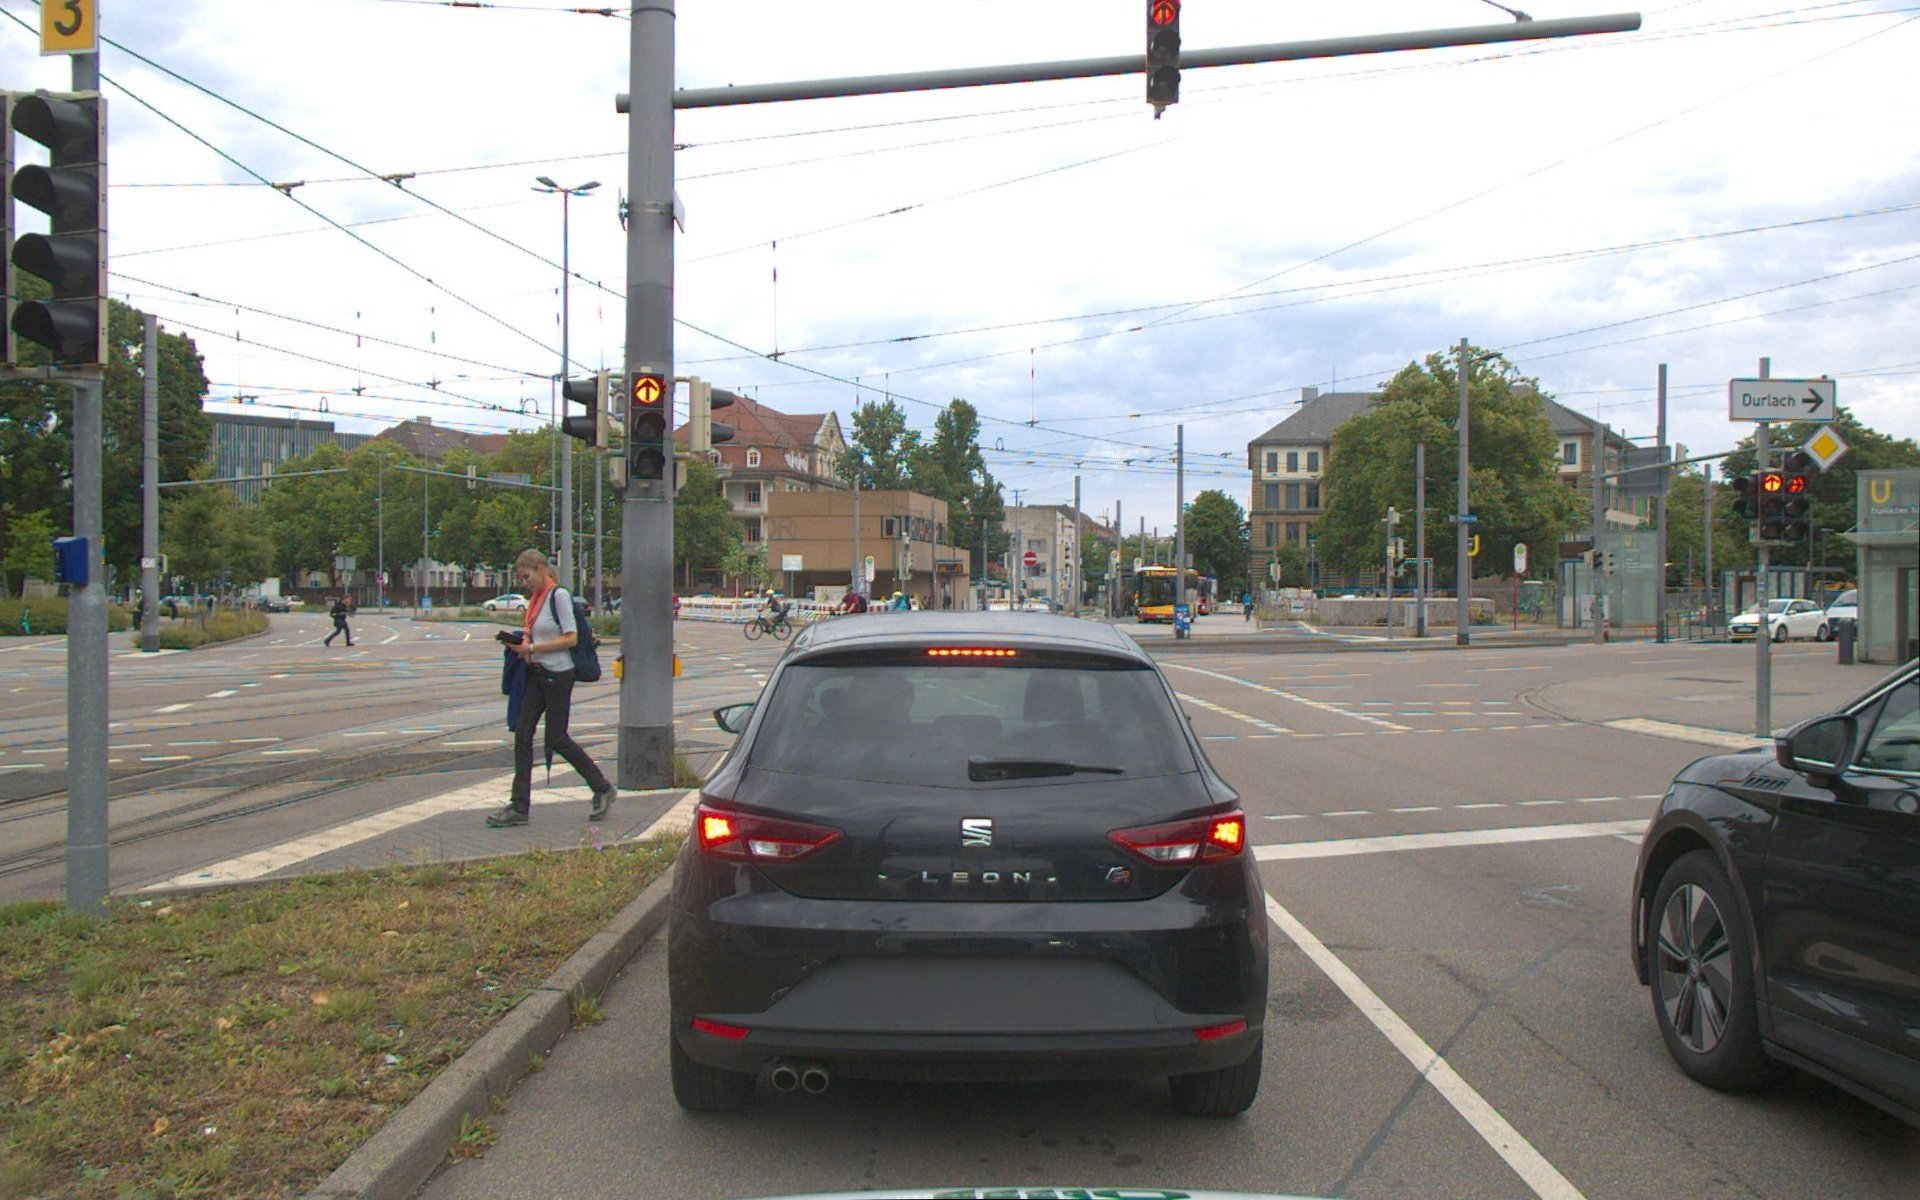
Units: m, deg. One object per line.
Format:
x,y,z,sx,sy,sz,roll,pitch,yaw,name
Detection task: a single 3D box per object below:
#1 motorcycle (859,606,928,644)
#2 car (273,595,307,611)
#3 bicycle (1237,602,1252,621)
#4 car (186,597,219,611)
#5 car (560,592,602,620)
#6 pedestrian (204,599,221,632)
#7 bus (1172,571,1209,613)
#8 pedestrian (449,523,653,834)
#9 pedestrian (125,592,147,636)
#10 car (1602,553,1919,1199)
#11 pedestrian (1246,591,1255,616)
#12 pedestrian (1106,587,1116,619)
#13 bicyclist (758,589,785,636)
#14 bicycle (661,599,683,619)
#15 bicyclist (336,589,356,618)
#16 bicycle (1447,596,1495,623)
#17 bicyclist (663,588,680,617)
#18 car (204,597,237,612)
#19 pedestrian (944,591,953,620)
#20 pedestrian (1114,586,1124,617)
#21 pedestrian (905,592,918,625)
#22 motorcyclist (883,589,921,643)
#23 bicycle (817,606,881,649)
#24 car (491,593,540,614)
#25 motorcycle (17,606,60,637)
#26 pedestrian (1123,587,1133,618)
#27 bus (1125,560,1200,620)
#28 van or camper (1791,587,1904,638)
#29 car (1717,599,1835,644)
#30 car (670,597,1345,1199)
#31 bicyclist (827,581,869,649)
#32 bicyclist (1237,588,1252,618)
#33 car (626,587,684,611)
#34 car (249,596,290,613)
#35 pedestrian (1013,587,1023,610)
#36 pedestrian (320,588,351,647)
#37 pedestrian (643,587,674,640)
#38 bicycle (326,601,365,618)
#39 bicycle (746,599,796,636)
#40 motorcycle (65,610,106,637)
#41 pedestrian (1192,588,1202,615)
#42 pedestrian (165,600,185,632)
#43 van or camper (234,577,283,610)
-2.114,0.783,52.653,2.115,1.159,0.735,0,0,-34,motorcycle
-67.020,0.281,165.427,3.931,1.489,1.770,1,1,44,car
17.897,0.718,104.029,0.847,1.124,2.304,0,0,11,bicycle
-80.696,0.421,176.153,3.926,1.489,1.772,1,1,41,car
-23.946,0.377,104.386,1.966,1.713,3.973,0,-1,-22,car
-46.842,0.964,103.615,0.865,2.016,0.791,0,-1,-19,pedestrian
19.160,-0.667,136.959,2.597,3.340,11.004,0,0,10,bus
-2.705,0.493,10.964,1.096,1.940,0.724,1,-1,-44,pedestrian
-38.019,0.654,76.354,0.787,2.016,0.870,1,-2,-35,pedestrian
3.268,0.701,3.768,1.741,1.625,4.508,0,0,-2,car
24.011,0.305,136.749,0.648,2.049,0.691,0,0,-1,pedestrian
9.526,0.190,104.139,0.608,1.951,0.699,0,0,9,pedestrian
-6.860,0.438,60.046,0.842,1.702,0.650,0,0,-22,bicyclist
-17.510,0.525,100.453,0.879,1.199,2.286,0,0,-22,bicycle
-44.352,0.252,119.538,0.919,2.049,0.977,0,0,28,bicyclist
25.527,0.486,82.635,2.214,1.354,0.707,-1,-1,6,bicycle
-17.510,0.140,100.439,0.870,1.762,0.888,0,0,-22,bicyclist
-75.355,0.429,168.552,3.932,1.489,1.770,1,1,44,car
-0.770,0.384,113.076,0.608,1.951,0.711,0,0,2,pedestrian
10.183,0.076,105.727,0.608,1.951,0.711,0,0,2,pedestrian
-2.871,0.499,97.314,0.693,1.951,0.624,0,0,7,pedestrian
-1.866,0.506,52.804,0.968,1.678,0.741,0,-1,-34,motorcyclist
-3.184,0.779,47.536,0.761,1.205,2.026,0,0,34,bicycle
-37.631,0.272,140.081,3.915,1.803,1.712,0,0,-11,car
-37.894,0.877,68.000,0.503,1.290,1.463,0,0,43,motorcycle
10.620,0.186,104.727,0.608,1.951,0.699,0,0,9,pedestrian
11.559,-0.531,93.630,2.897,3.178,11.548,0,0,14,bus
32.118,0.462,59.839,4.257,1.773,1.974,0,-1,-36,van or camper
27.524,0.724,55.756,3.948,1.490,1.756,0,-1,-32,car
-0.018,0.733,5.976,1.671,1.474,3.808,0,0,-5,car
-3.211,0.422,47.513,0.762,1.931,0.994,0,0,35,bicyclist
17.909,0.192,104.094,0.852,1.884,1.048,0,0,12,bicyclist
-22.612,-0.055,122.679,3.905,1.713,2.000,0,-1,0,car
-59.446,0.375,142.328,3.930,1.489,1.770,0,0,43,car
4.877,-0.121,138.118,0.609,1.952,0.710,-1,-1,25,pedestrian
-21.992,0.607,58.281,1.006,2.049,0.841,0,0,-20,pedestrian
-11.351,0.496,62.229,1.015,1.968,0.695,0,0,-26,pedestrian
-44.401,0.679,119.507,0.921,1.199,2.726,0,0,28,bicycle
-6.876,0.622,60.050,1.705,1.345,0.641,0,0,-22,bicycle
-36.975,0.979,69.942,0.499,1.130,1.746,0,0,12,motorcycle
18.067,0.081,126.098,0.648,2.049,0.691,0,0,-1,pedestrian
-49.515,1.000,104.299,0.860,2.016,0.796,0,-1,3,pedestrian
-69.246,-0.629,163.187,5.403,3.179,2.382,0,0,41,van or camper
